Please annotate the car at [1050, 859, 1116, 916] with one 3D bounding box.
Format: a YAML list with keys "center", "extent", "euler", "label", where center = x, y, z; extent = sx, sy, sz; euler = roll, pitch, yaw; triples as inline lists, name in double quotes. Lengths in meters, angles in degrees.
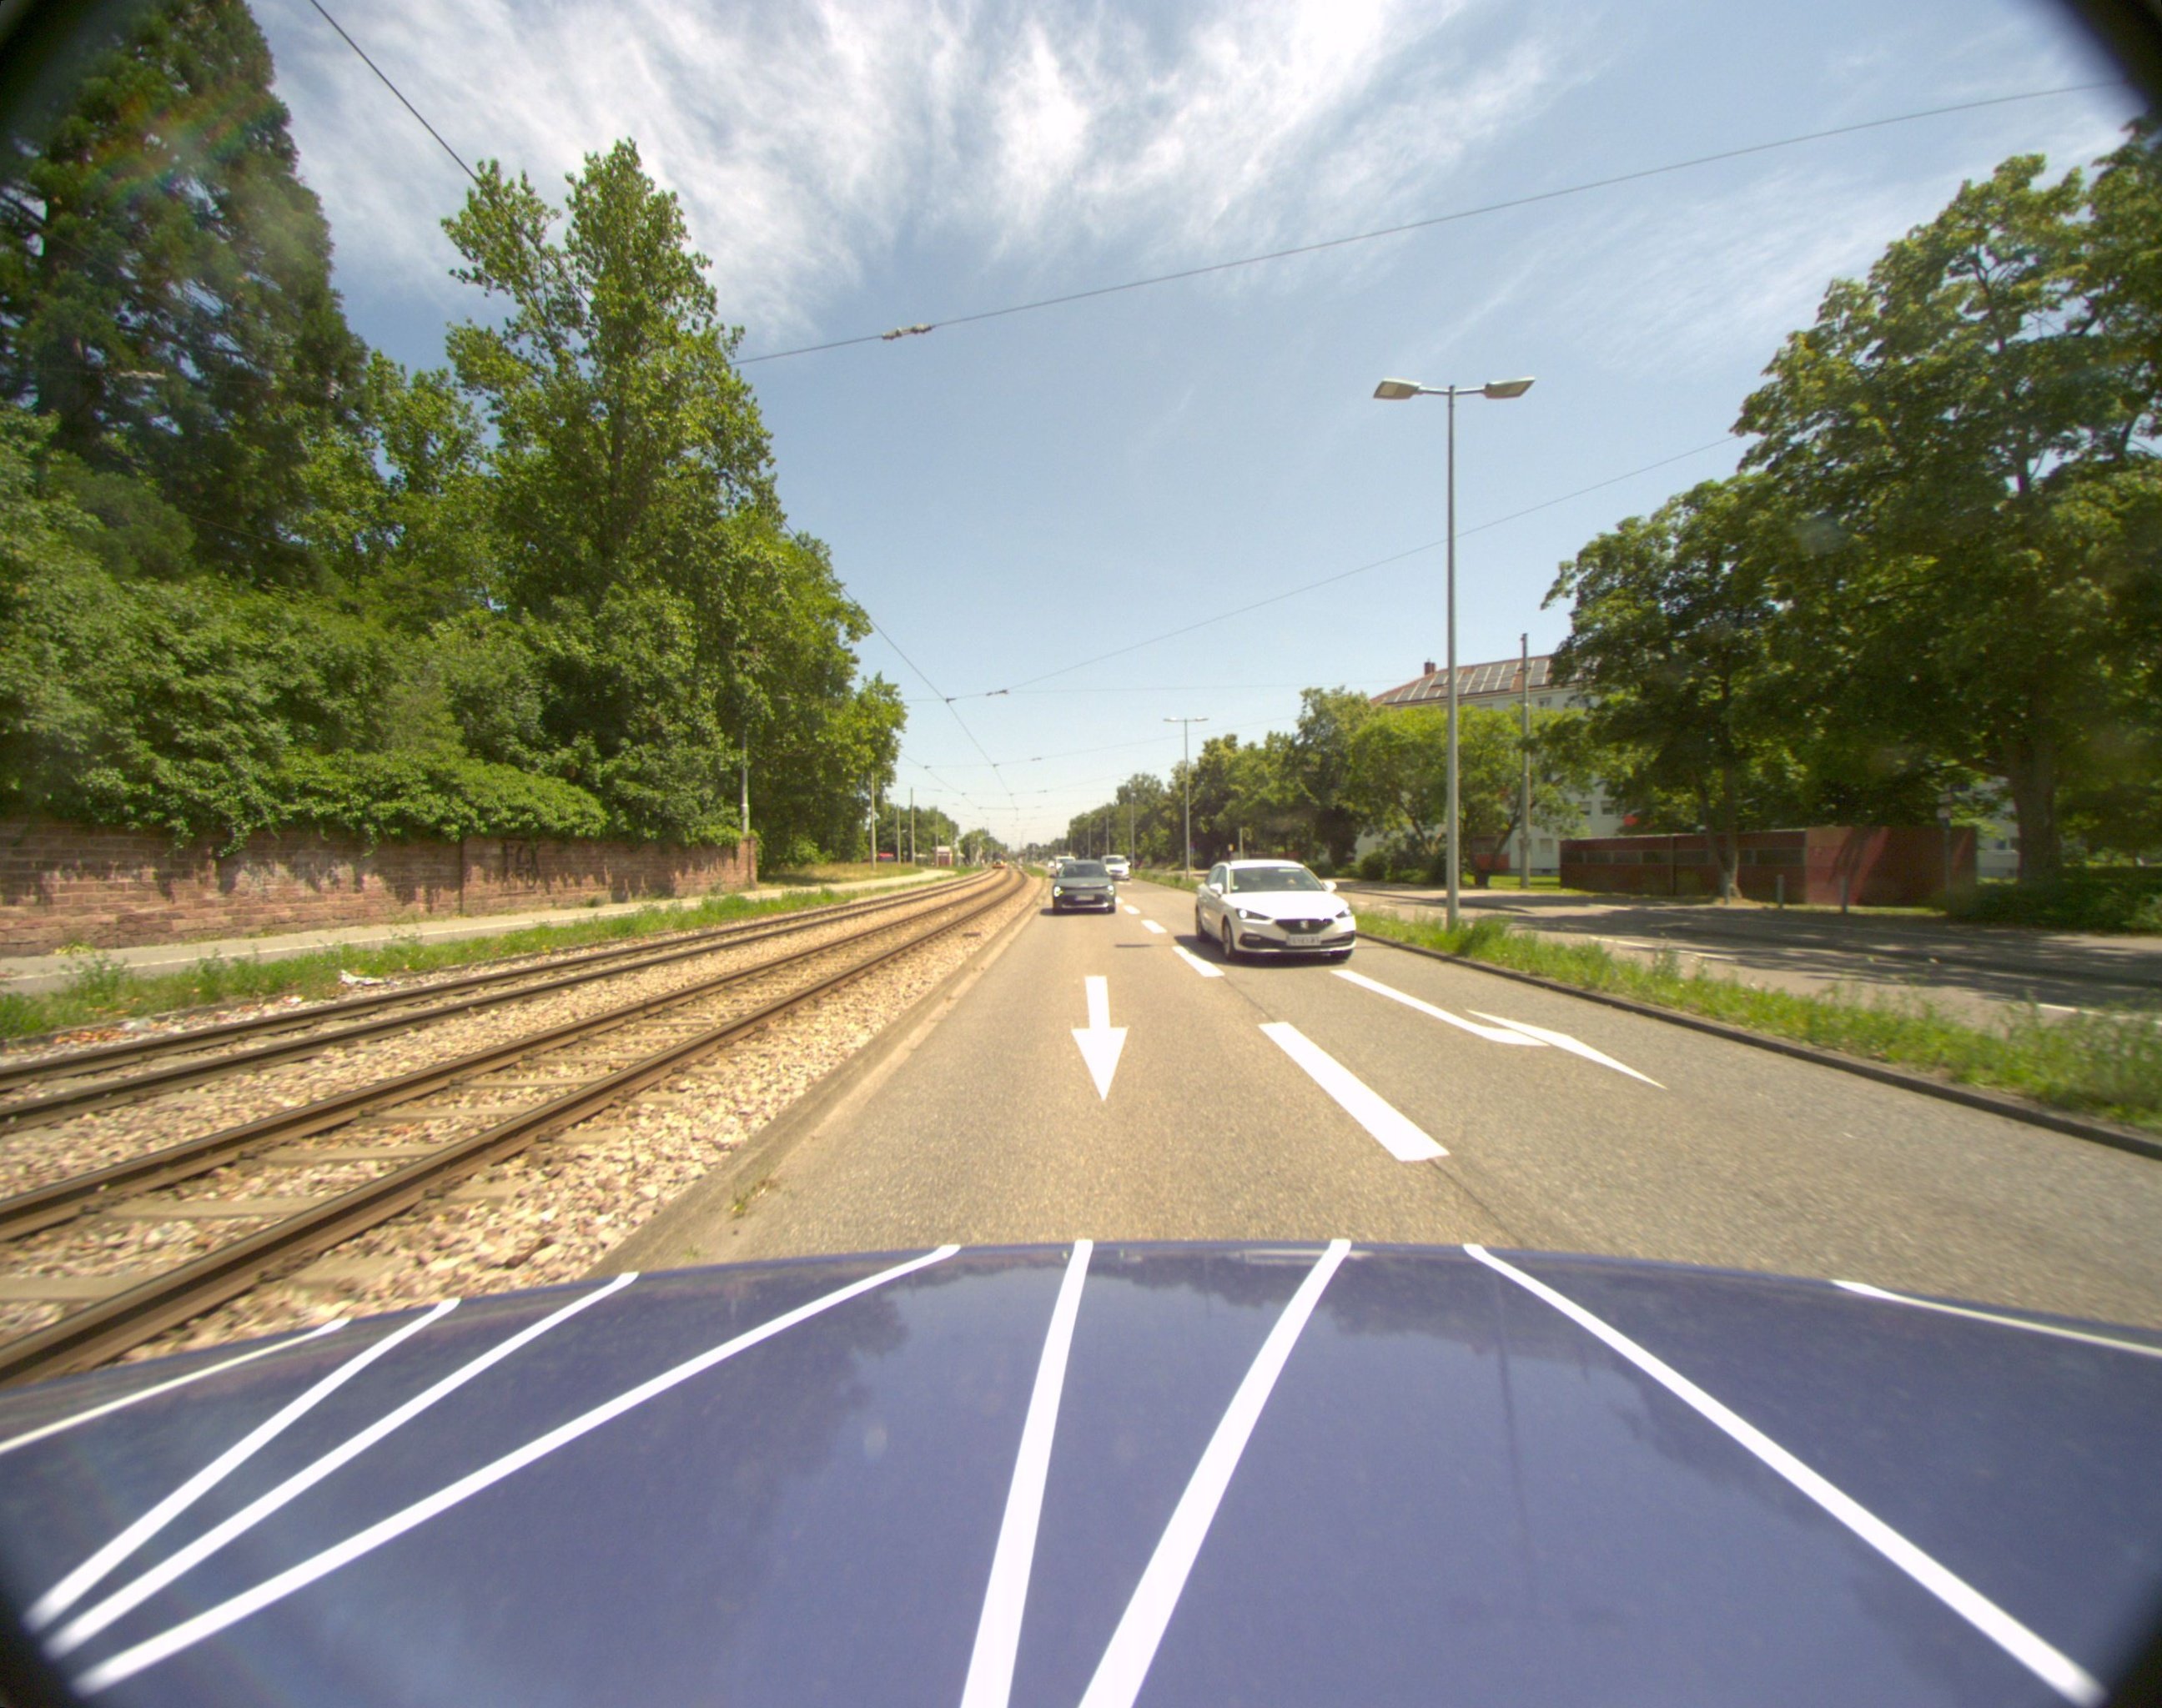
- center: [-0.028, 0.937, 23.080]
  extent: [1.788, 1.554, 4.134]
  euler: [0, 0, -3]
  label: "car"

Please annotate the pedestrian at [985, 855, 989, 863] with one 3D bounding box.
- center: [-19.190, 1.015, 155.542]
  extent: [0.637, 1.749, 0.815]
  euler: [-2, 1, -18]
  label: "pedestrian"

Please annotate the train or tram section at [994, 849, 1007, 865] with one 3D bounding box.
- center: [-17.315, 0.642, 164.292]
  extent: [2.525, 3.303, 7.258]
  euler: [0, 0, -4]
  label: "train or tram section"

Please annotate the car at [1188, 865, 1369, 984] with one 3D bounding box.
- center: [2.910, 0.964, 12.137]
  extent: [1.772, 1.460, 4.111]
  euler: [-2, 0, 0]
  label: "car"

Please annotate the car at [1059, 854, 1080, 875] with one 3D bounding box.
- center: [-1.144, 0.975, 74.000]
  extent: [1.922, 2.002, 3.999]
  euler: [0, 0, -3]
  label: "car"

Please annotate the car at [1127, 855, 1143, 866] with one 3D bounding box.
- center: [8.332, 1.027, 117.041]
  extent: [1.928, 1.616, 4.755]
  euler: [1, 0, -2]
  label: "car"

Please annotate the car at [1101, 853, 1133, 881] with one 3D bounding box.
- center: [2.621, 0.923, 56.323]
  extent: [1.999, 2.002, 3.999]
  euler: [0, 0, -3]
  label: "car"
